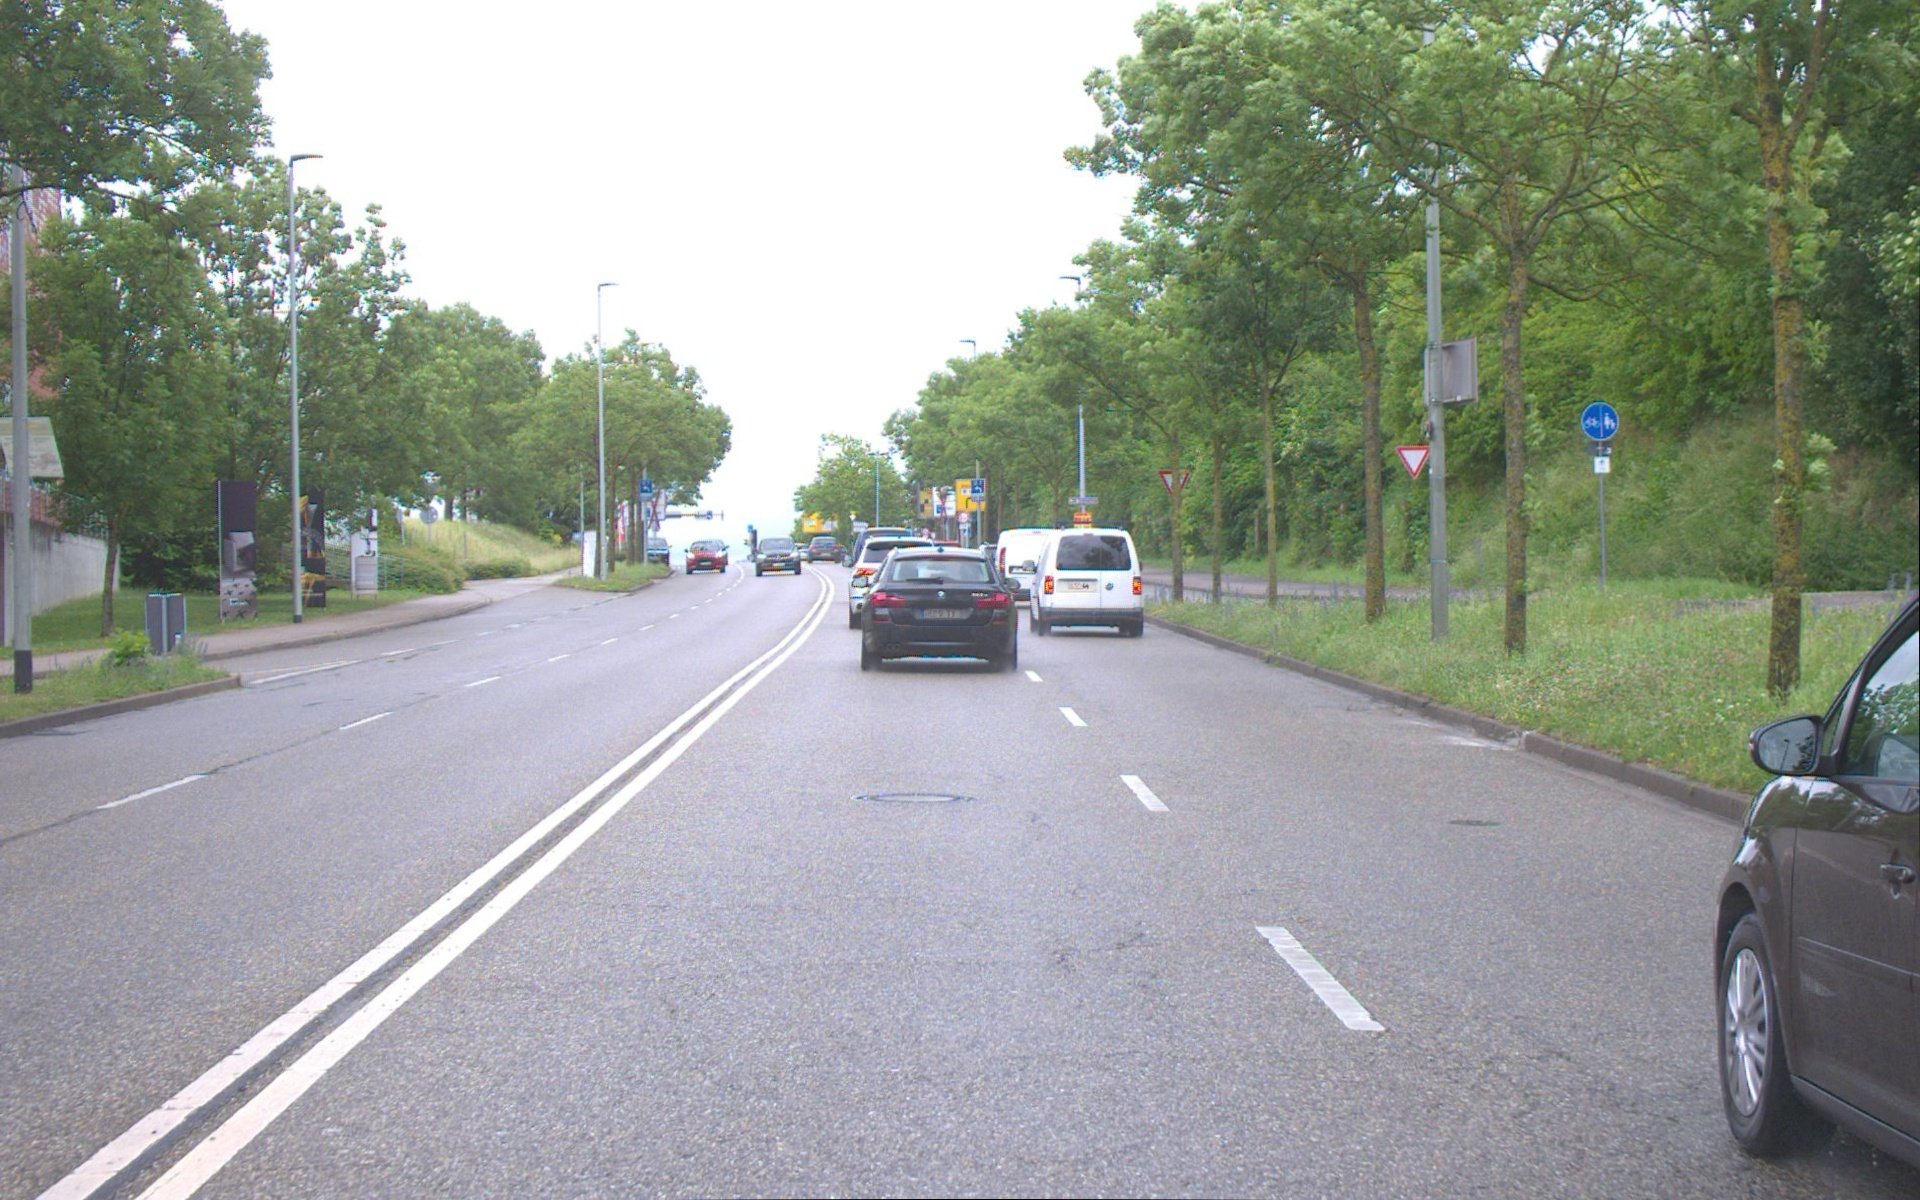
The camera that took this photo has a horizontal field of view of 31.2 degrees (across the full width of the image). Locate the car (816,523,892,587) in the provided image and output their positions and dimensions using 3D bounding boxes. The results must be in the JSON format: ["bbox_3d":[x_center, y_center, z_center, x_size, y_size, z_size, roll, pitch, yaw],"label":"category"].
[{"bbox_3d":[-2.630,-1.087,84.748,1.794,1.505,4.000,1,0,-2],"label":"car"}]

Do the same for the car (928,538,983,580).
[{"bbox_3d":[-0.195,-1.539,130.026,1.794,1.505,4.001,1,0,-4],"label":"car"}]

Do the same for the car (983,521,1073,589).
[{"bbox_3d":[1.563,-1.039,80.308,1.794,1.505,4.000,1,0,-3],"label":"car"}]

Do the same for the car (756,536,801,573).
[{"bbox_3d":[-7.681,-1.920,145.060,1.794,1.505,4.001,1,0,-4],"label":"car"}]

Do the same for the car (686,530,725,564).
[{"bbox_3d":[-11.901,-2.479,160.713,1.794,1.505,4.001,1,0,-4],"label":"car"}]

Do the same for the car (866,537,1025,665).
[{"bbox_3d":[-0.184,-0.020,41.539,1.827,1.463,4.000,0,1,0],"label":"car"}]

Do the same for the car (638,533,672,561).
[{"bbox_3d":[-17.155,-2.958,193.392,1.794,1.505,4.001,1,0,-4],"label":"car"}]

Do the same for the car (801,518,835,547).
[{"bbox_3d":[-7.770,-3.673,188.042,1.794,1.505,4.000,1,0,-3],"label":"car"}]

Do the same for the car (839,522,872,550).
[{"bbox_3d":[-6.018,-3.685,198.252,1.794,1.505,4.000,1,0,-3],"label":"car"}]

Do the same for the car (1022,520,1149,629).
[{"bbox_3d":[2.076,-0.459,58.066,1.827,1.753,4.001,1,1,-2],"label":"car"}]

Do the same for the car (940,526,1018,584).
[{"bbox_3d":[0.493,-1.208,93.802,1.794,1.505,4.001,1,0,-4],"label":"car"}]

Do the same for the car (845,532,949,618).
[{"bbox_3d":[-1.180,-0.451,62.955,1.794,1.505,4.000,1,0,-2],"label":"car"}]

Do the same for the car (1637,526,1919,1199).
[{"bbox_3d":[2.740,0.638,7.163,1.685,1.575,4.219,0,1,-2],"label":"car"}]
